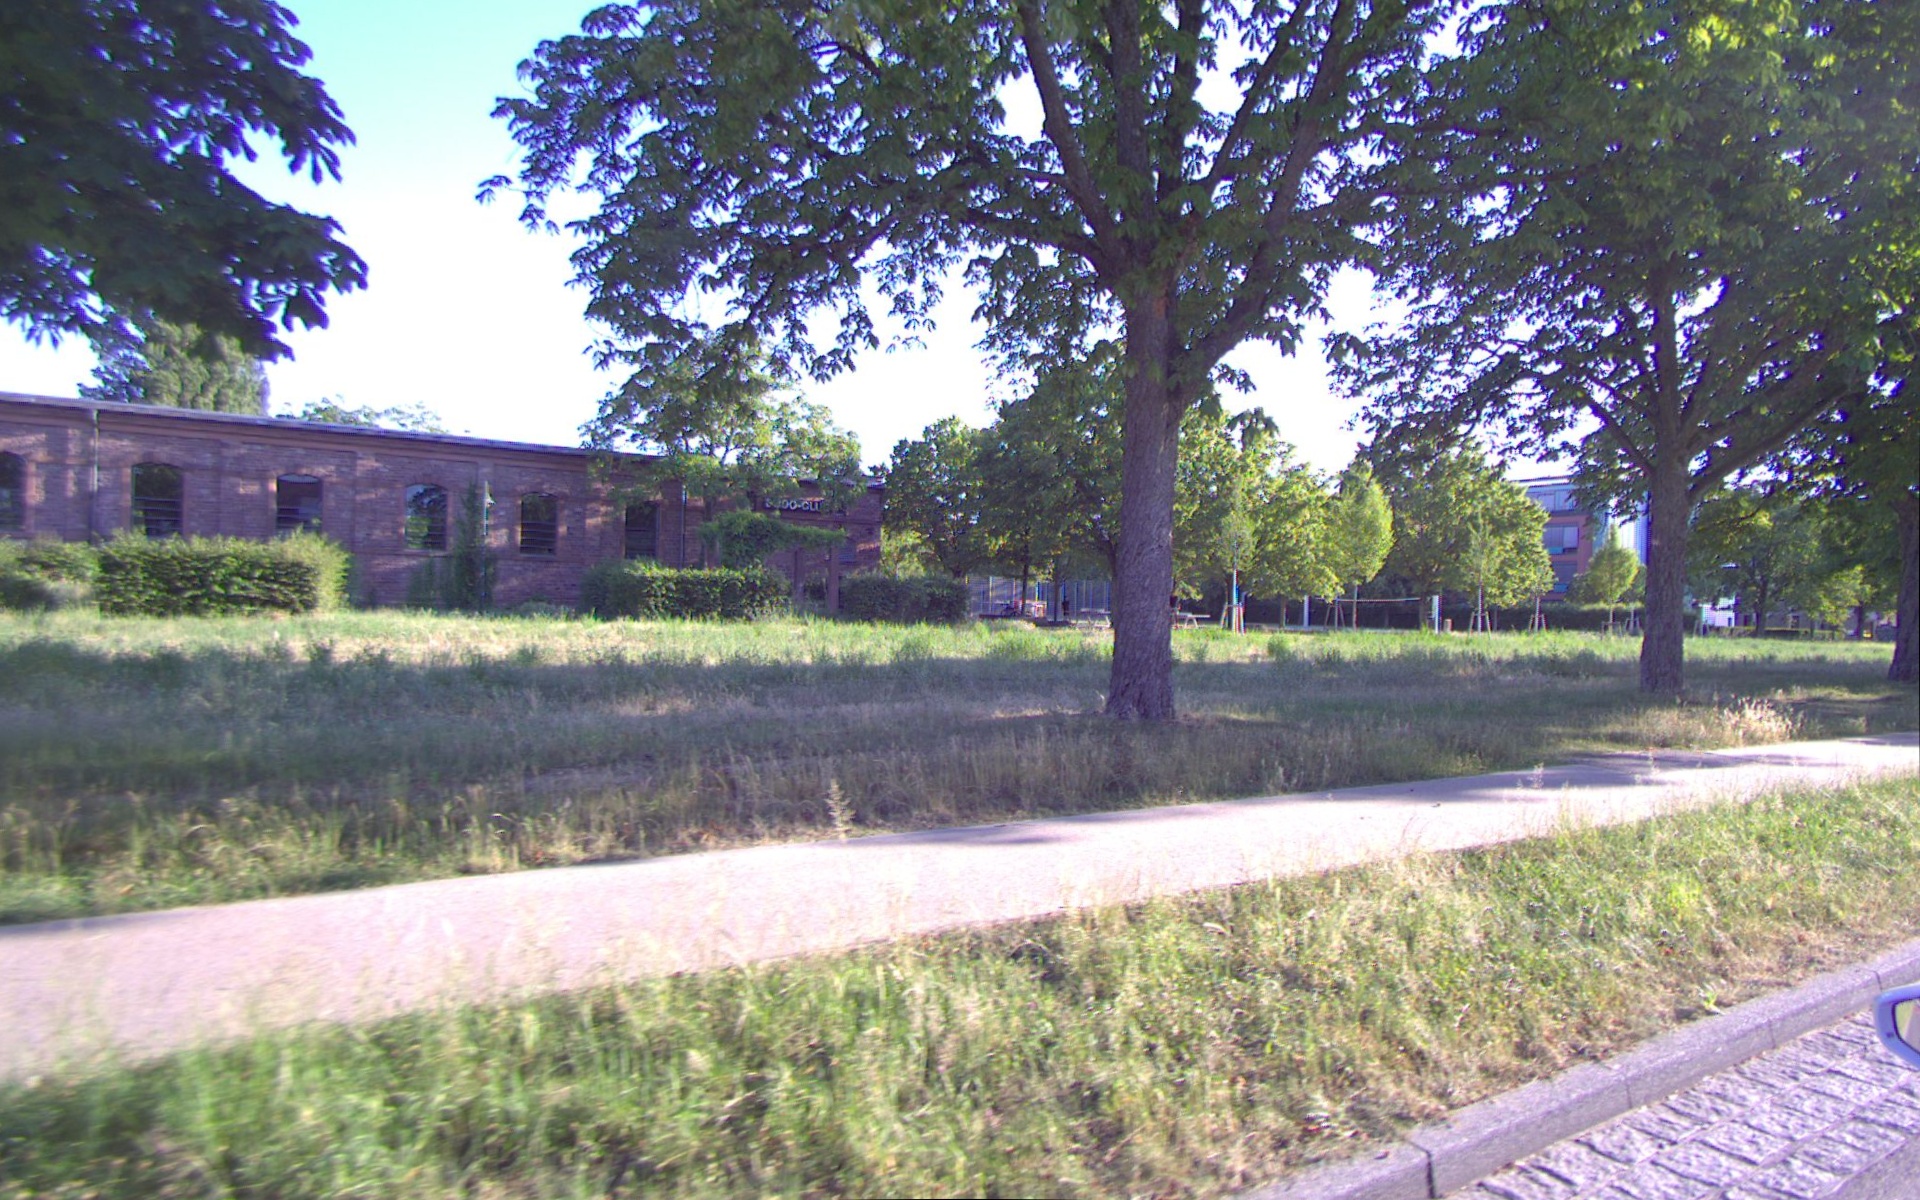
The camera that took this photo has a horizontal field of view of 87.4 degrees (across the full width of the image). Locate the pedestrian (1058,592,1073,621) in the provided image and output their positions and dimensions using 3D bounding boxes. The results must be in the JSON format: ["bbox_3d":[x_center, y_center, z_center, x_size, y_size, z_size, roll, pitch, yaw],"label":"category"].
[{"bbox_3d":[5.524,0.357,52.625,0.497,1.498,0.583,2,1,-39],"label":"pedestrian"}]

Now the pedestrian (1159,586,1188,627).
[{"bbox_3d":[10.106,0.308,47.614,0.787,1.906,1.044,2,1,-27],"label":"pedestrian"}]
